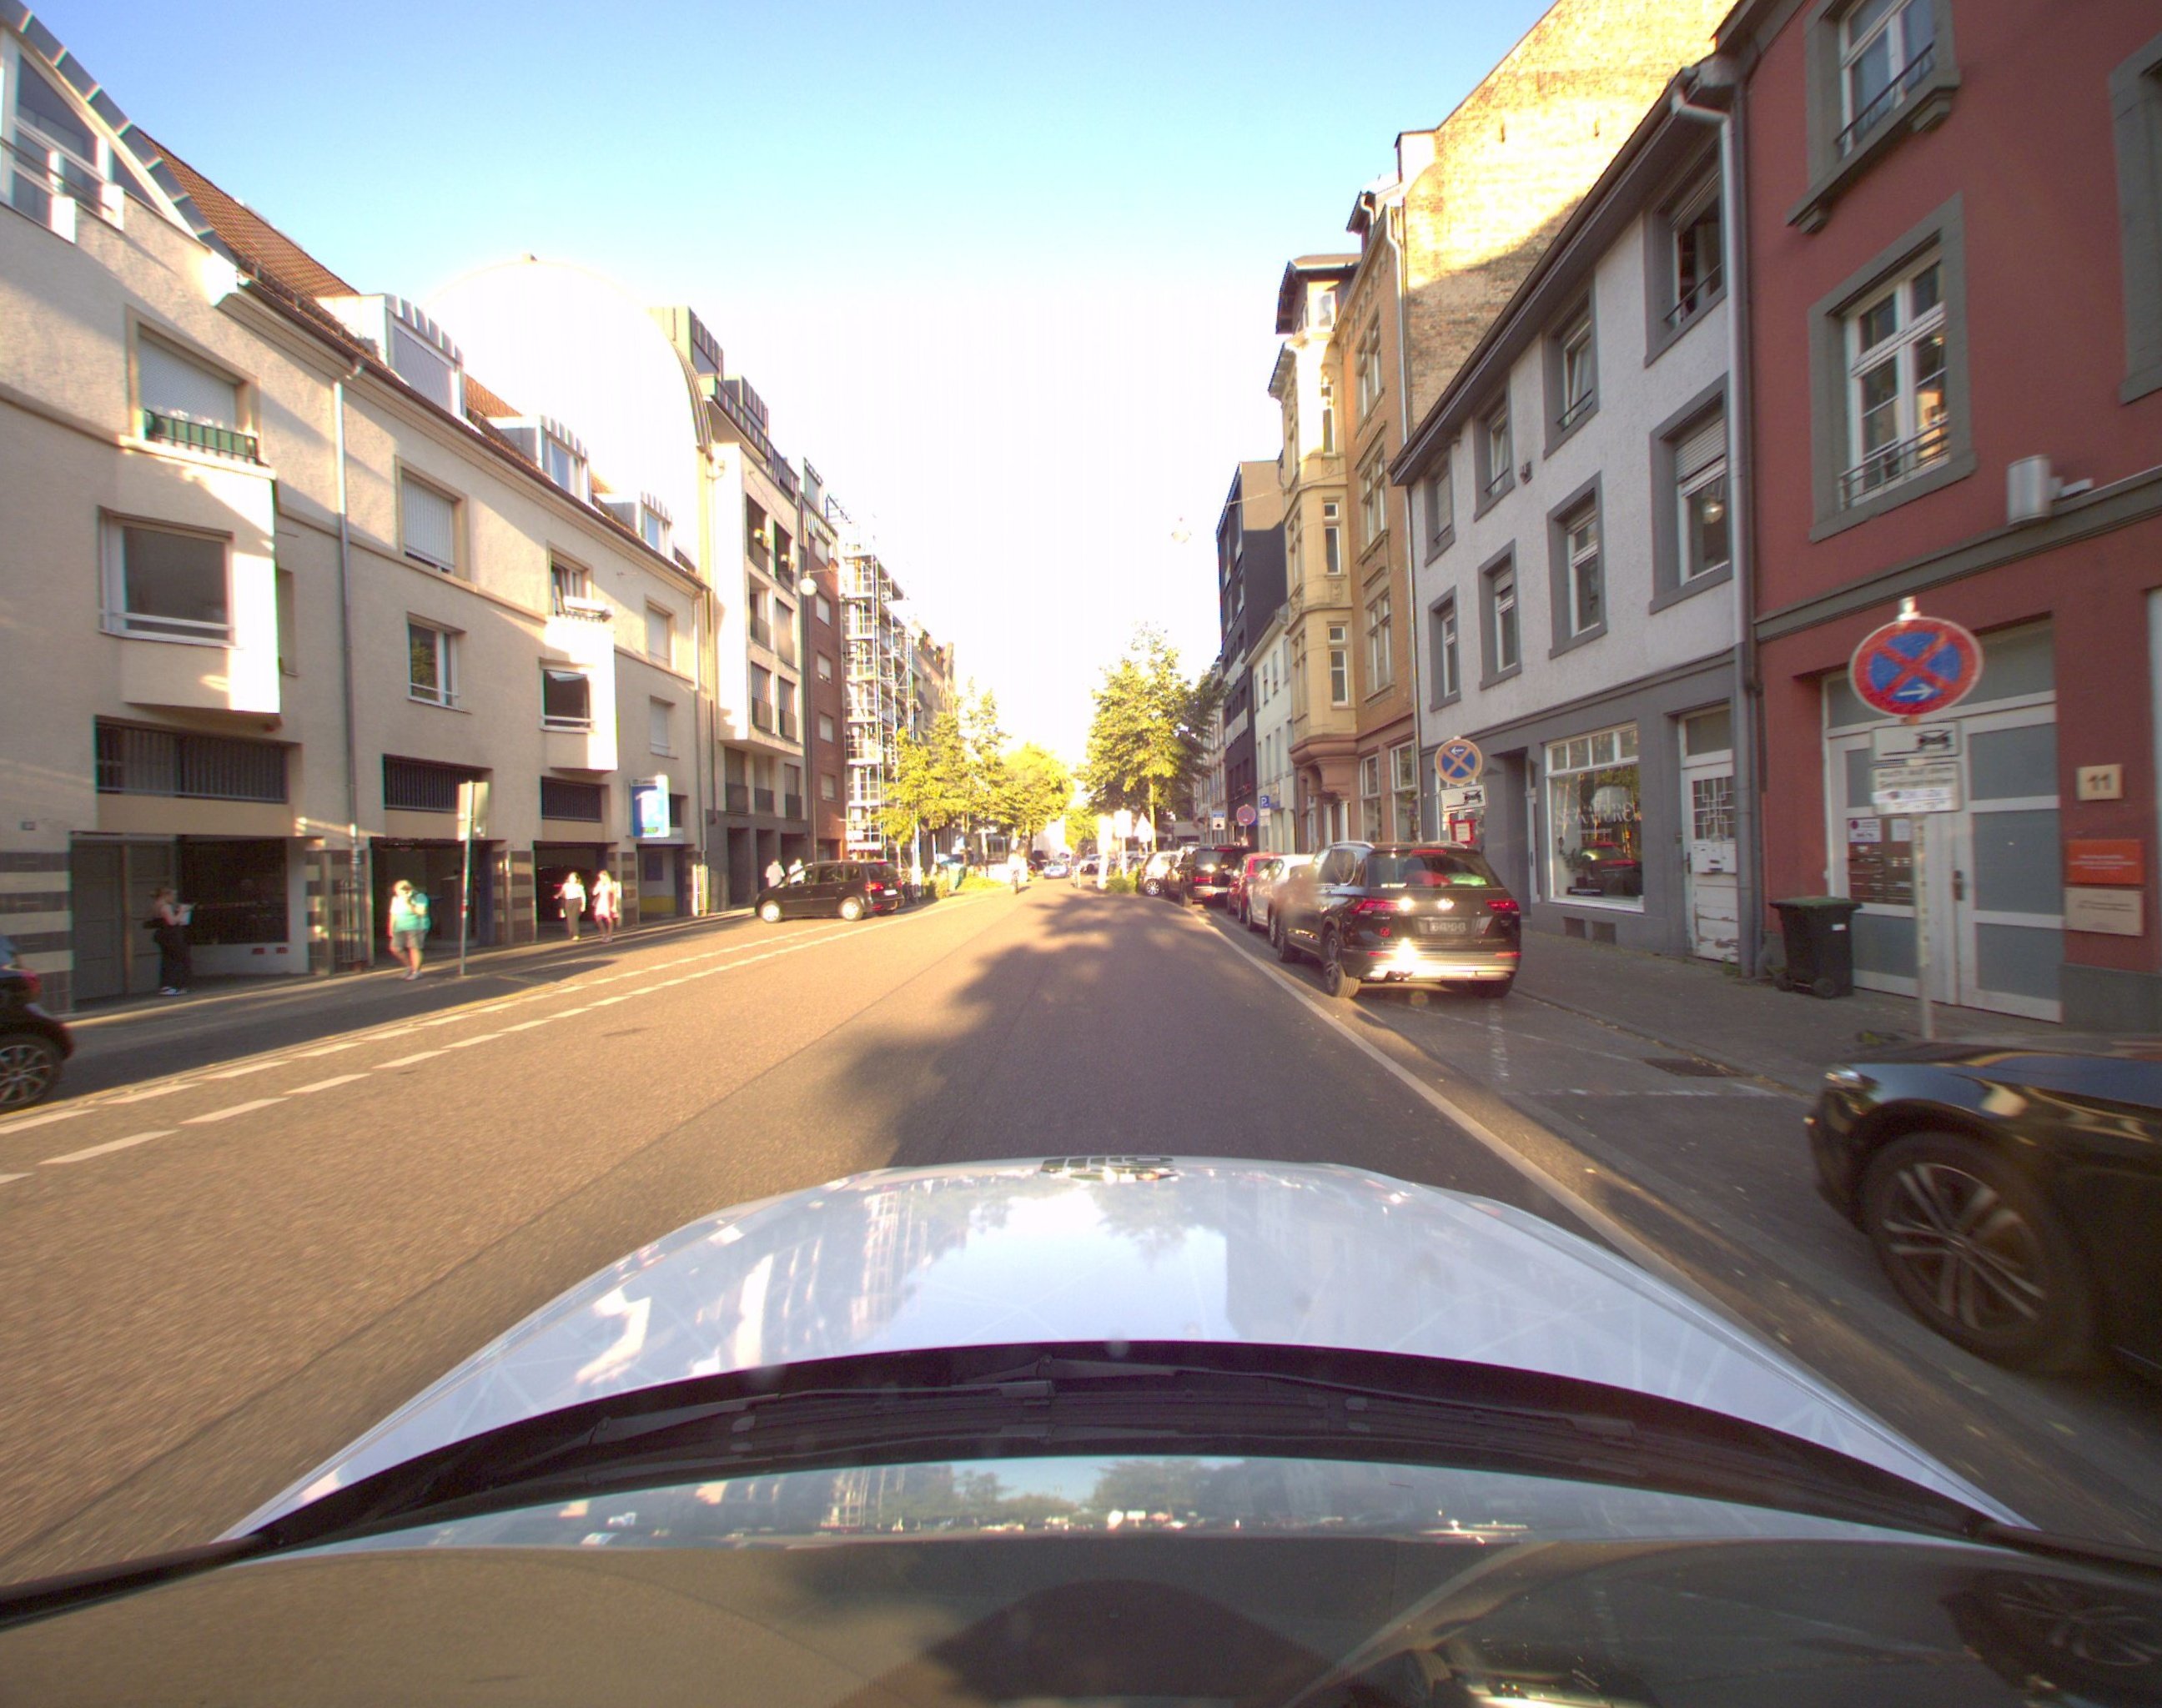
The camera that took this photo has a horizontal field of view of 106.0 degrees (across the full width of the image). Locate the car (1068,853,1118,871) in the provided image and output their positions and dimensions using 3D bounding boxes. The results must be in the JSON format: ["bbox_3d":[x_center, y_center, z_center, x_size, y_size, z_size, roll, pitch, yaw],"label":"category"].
[{"bbox_3d":[1.066,0.676,70.176,1.866,1.480,4.486,-1,-1,41],"label":"car"}]

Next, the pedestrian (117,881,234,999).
[{"bbox_3d":[-13.031,1.208,11.746,0.713,1.616,0.856,-1,-1,4],"label":"pedestrian"}]

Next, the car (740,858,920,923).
[{"bbox_3d":[-7.055,1.019,22.984,4.458,1.602,2.010,-3,-1,19],"label":"car"}]

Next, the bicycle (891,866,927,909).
[{"bbox_3d":[-5.868,1.111,27.921,0.843,1.351,3.180,-2,0,-6],"label":"bicycle"}]

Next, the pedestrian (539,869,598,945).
[{"bbox_3d":[-11.458,1.168,18.230,0.713,1.641,0.857,-1,-1,6],"label":"pedestrian"}]

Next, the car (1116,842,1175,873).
[{"bbox_3d":[4.496,0.235,56.429,3.967,2.013,2.003,-2,0,6],"label":"car"}]

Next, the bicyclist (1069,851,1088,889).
[{"bbox_3d":[-0.127,0.727,37.031,0.778,1.696,1.007,-3,-1,0],"label":"bicyclist"}]

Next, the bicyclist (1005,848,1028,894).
[{"bbox_3d":[-2.625,0.693,33.147,0.778,1.829,1.007,-3,-1,0],"label":"bicyclist"}]

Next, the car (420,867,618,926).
[{"bbox_3d":[-16.294,1.201,23.767,4.474,1.601,2.003,-1,-1,4],"label":"car"}]

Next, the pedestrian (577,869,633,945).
[{"bbox_3d":[-10.599,1.166,18.153,0.713,1.641,0.856,-1,-1,6],"label":"pedestrian"}]

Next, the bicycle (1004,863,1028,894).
[{"bbox_3d":[-2.625,0.978,33.105,0.778,1.204,2.020,-3,-1,0],"label":"bicycle"}]

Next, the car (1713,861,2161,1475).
[{"bbox_3d":[3.483,0.763,1.290,1.755,1.483,4.309,-1,-1,3],"label":"car"}]

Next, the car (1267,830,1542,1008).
[{"bbox_3d":[3.544,0.639,9.824,1.804,1.668,4.208,-1,-1,3],"label":"car"}]

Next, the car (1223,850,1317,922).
[{"bbox_3d":[4.206,0.680,18.563,1.580,1.483,3.270,-1,-1,4],"label":"car"}]

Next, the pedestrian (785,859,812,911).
[{"bbox_3d":[-9.572,1.041,27.620,0.716,1.740,0.737,-1,-1,-6],"label":"pedestrian"}]

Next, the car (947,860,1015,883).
[{"bbox_3d":[-6.515,1.130,53.440,4.085,1.466,1.891,-1,-1,3],"label":"car"}]

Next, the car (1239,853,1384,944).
[{"bbox_3d":[3.923,0.705,14.483,1.660,1.378,3.805,-1,-1,3],"label":"car"}]

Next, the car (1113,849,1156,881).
[{"bbox_3d":[3.301,0.656,50.999,2.258,1.766,4.507,4,-1,-1],"label":"car"}]

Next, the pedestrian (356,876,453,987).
[{"bbox_3d":[-10.605,1.184,12.804,0.714,1.641,0.951,-1,-1,-1],"label":"pedestrian"}]

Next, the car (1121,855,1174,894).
[{"bbox_3d":[3.005,0.900,37.764,1.988,1.668,4.507,-1,-1,-1],"label":"car"}]

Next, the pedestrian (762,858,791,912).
[{"bbox_3d":[-10.017,1.012,26.792,0.716,1.767,0.693,-1,-1,-6],"label":"pedestrian"}]

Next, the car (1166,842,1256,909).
[{"bbox_3d":[3.583,0.571,23.238,1.819,1.695,4.367,-1,-1,-1],"label":"car"}]

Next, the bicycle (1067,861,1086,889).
[{"bbox_3d":[-0.208,0.953,37.108,0.778,1.204,2.020,-3,-1,0],"label":"bicycle"}]

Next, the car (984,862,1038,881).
[{"bbox_3d":[-5.572,1.404,65.081,4.085,1.466,1.891,-1,-1,3],"label":"car"}]

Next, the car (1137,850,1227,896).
[{"bbox_3d":[3.548,0.660,28.926,2.961,1.536,1.432,-1,-1,-2],"label":"car"}]

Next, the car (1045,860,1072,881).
[{"bbox_3d":[-1.592,1.144,58.203,1.832,1.441,4.330,0,-1,0],"label":"car"}]

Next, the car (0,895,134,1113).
[{"bbox_3d":[-8.762,1.141,5.142,1.786,1.535,3.188,-2,0,-1],"label":"car"}]

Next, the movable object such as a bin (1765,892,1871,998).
[{"bbox_3d":[7.008,0.849,7.759,0.551,0.938,0.485,-2,0,0],"label":"movable object such as a bin"}]
